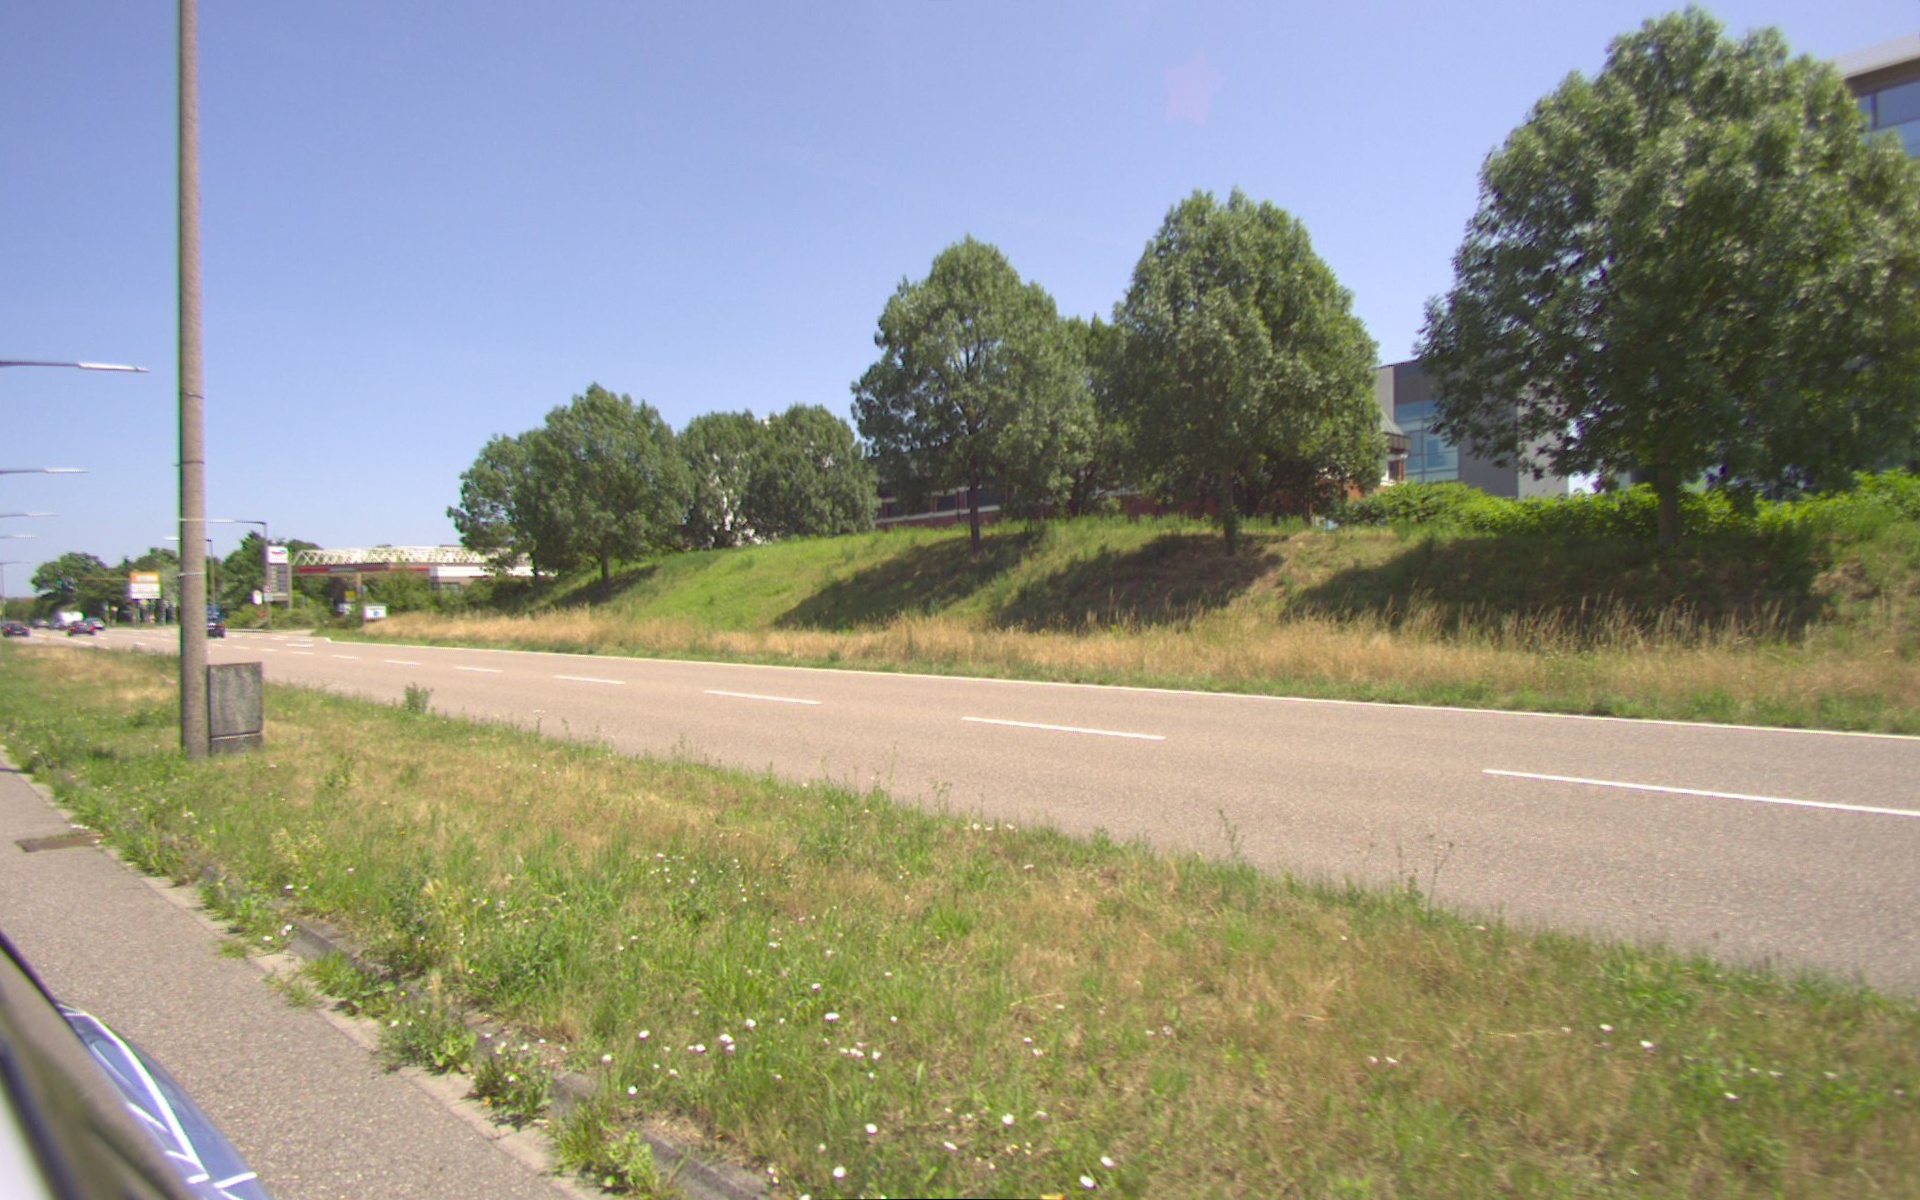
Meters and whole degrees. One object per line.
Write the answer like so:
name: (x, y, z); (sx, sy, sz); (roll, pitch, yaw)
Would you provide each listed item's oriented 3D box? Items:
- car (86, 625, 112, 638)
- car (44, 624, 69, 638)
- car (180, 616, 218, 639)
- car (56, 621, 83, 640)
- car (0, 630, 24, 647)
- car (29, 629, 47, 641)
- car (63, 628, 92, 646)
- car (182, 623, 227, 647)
car: (-100.108, 3.651, 117.691); (4.852, 1.460, 1.810); (-2, 0, 44)
car: (-126.325, 4.364, 141.451); (5.020, 1.763, 1.945); (-1, 3, 42)
car: (-86.194, 3.049, 114.690); (2.143, 2.430, 5.690); (-2, 0, -23)
car: (-114.142, 3.883, 129.717); (2.224, 2.290, 5.452); (-4, 1, -44)
car: (-90.592, 3.669, 96.605); (1.657, 1.445, 4.193); (-3, 1, -45)
car: (-142.886, 5.425, 156.883); (4.000, 1.550, 1.641); (-2, 4, 43)
car: (-79.894, 3.348, 91.603); (4.001, 1.503, 1.673); (-2, 0, 44)
car: (-48.116, 2.207, 64.438); (1.969, 1.370, 4.672); (-2, 0, -41)
